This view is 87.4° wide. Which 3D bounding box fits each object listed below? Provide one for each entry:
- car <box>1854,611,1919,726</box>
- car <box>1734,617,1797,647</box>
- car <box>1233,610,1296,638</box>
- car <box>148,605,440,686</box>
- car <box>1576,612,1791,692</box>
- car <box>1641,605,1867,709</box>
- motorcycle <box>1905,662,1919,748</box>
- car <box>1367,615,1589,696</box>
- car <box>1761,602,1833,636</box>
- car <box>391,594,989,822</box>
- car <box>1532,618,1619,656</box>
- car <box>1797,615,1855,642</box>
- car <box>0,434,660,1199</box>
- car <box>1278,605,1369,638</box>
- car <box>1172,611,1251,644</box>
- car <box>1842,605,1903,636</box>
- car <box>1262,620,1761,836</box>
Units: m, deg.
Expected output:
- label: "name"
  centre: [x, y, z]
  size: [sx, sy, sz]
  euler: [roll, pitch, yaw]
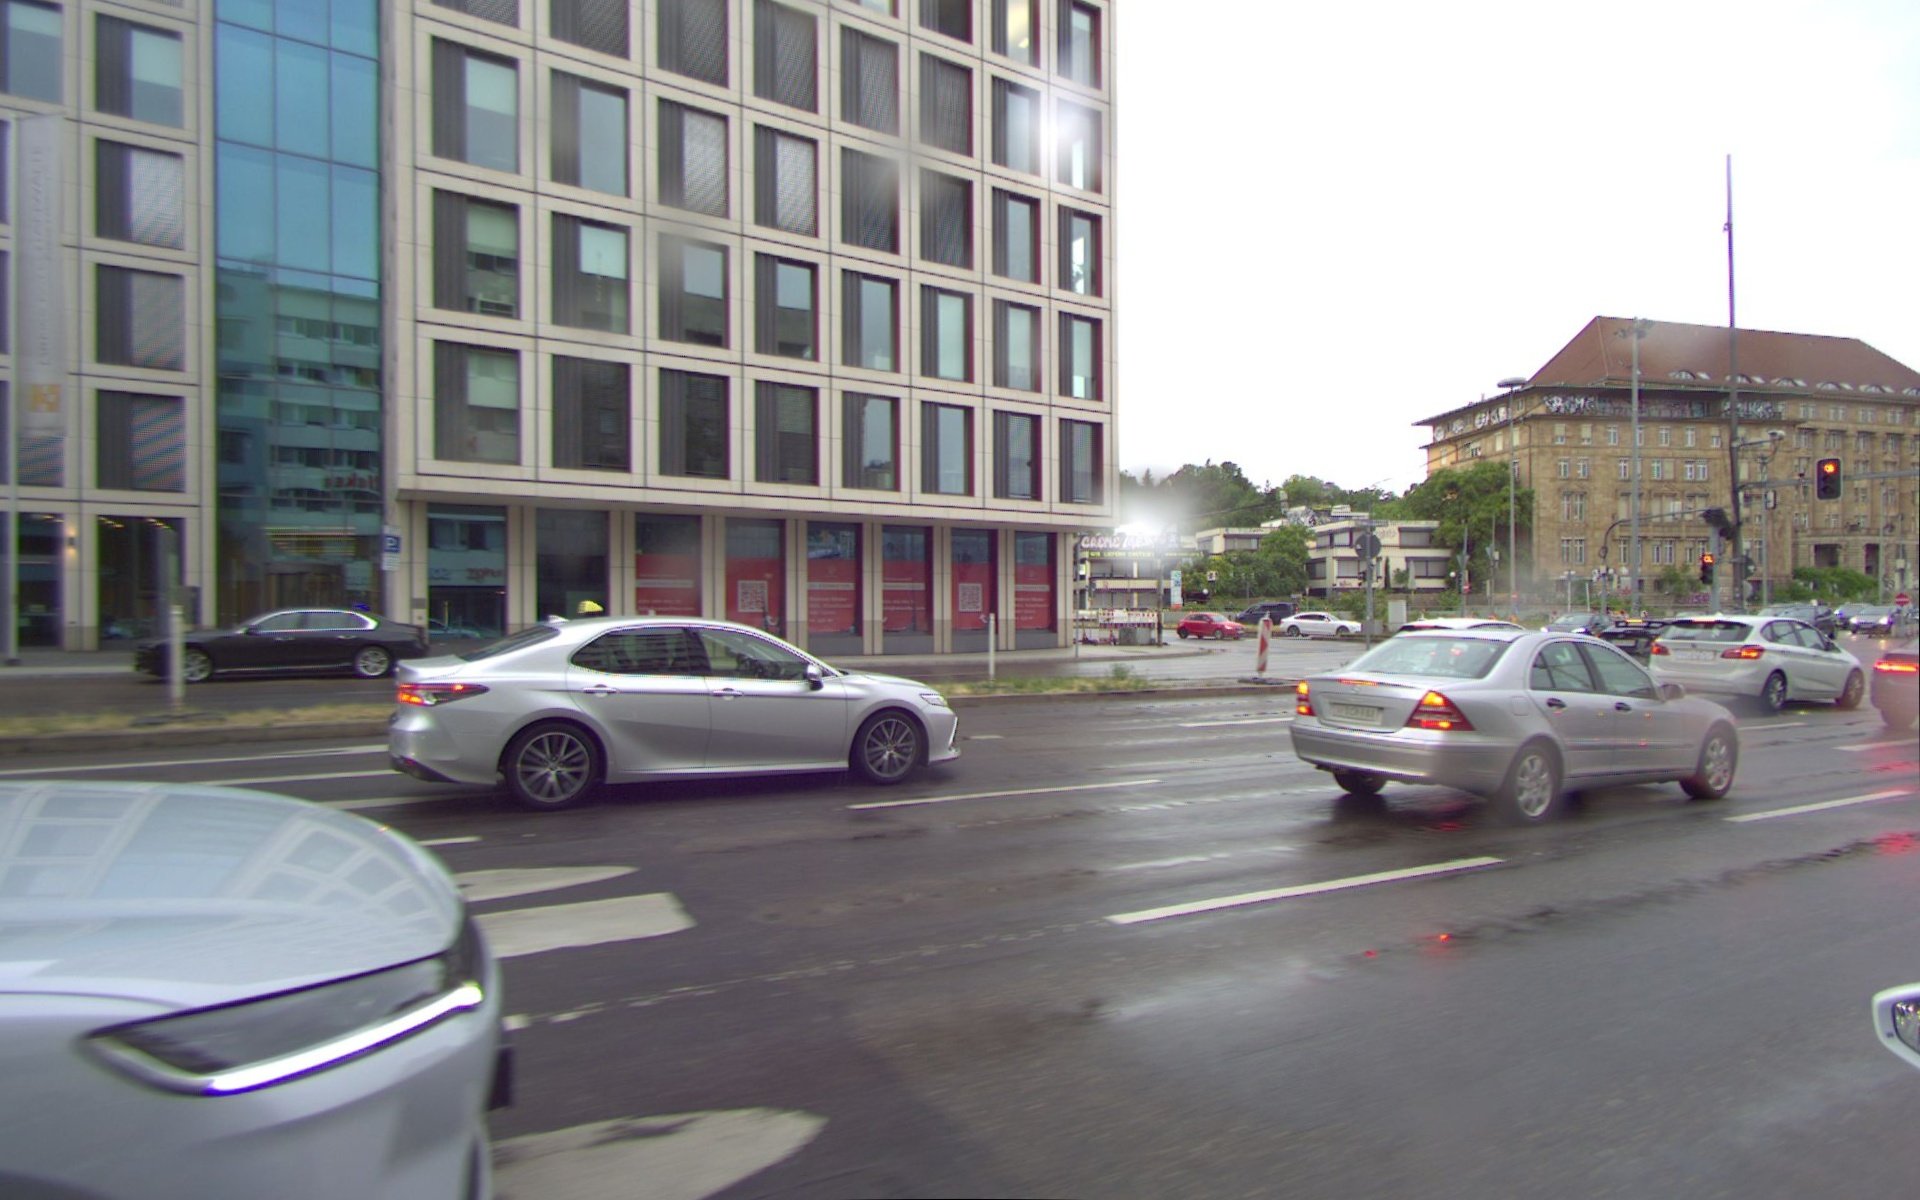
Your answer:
- label: "car"
  centre: [15.209, 0.997, 14.400]
  size: [4.937, 1.535, 1.880]
  euler: [2, 0, -27]
- label: "car"
  centre: [44.520, 1.784, 55.497]
  size: [3.961, 1.595, 1.686]
  euler: [2, 0, -35]
- label: "car"
  centre: [23.366, 1.834, 77.038]
  size: [4.160, 2.040, 1.992]
  euler: [1, 0, 39]
- label: "car"
  centre: [-14.321, 0.970, 21.941]
  size: [5.129, 1.590, 1.688]
  euler: [1, -2, -34]
- label: "car"
  centre: [15.835, 1.132, 22.031]
  size: [4.008, 1.621, 1.782]
  euler: [2, 0, -18]
- label: "car"
  centre: [14.029, 0.966, 17.719]
  size: [3.951, 1.637, 1.725]
  euler: [2, 0, -29]
- label: "motorcycle"
  centre: [12.421, 1.264, 12.117]
  size: [2.269, 1.002, 0.936]
  euler: [1, 0, -32]
- label: "car"
  centre: [9.949, 1.040, 19.286]
  size: [3.940, 1.391, 1.777]
  euler: [2, 0, -26]
- label: "car"
  centre: [41.630, 0.946, 49.926]
  size: [4.034, 1.595, 1.790]
  euler: [2, 0, -35]
- label: "car"
  centre: [-2.239, 0.794, 8.805]
  size: [4.746, 1.541, 1.822]
  euler: [2, 0, -31]
- label: "car"
  centre: [26.137, 1.583, 42.612]
  size: [3.834, 1.539, 1.688]
  euler: [1, -2, -34]
- label: "car"
  centre: [51.025, 1.671, 59.195]
  size: [3.517, 1.539, 1.688]
  euler: [1, -2, -34]
- label: "car"
  centre: [-2.676, 0.615, 1.187]
  size: [4.123, 1.683, 1.799]
  euler: [2, 0, -31]
- label: "car"
  centre: [20.213, 1.171, 55.883]
  size: [4.331, 1.684, 1.990]
  euler: [1, 0, 41]
- label: "car"
  centre: [13.603, 1.462, 54.406]
  size: [1.661, 1.617, 3.955]
  euler: [2, 0, -38]
- label: "car"
  centre: [50.762, 1.147, 55.863]
  size: [3.961, 1.595, 1.686]
  euler: [2, 0, -35]
- label: "car"
  centre: [4.818, 0.945, 8.640]
  size: [4.330, 1.422, 1.725]
  euler: [2, 0, -29]
